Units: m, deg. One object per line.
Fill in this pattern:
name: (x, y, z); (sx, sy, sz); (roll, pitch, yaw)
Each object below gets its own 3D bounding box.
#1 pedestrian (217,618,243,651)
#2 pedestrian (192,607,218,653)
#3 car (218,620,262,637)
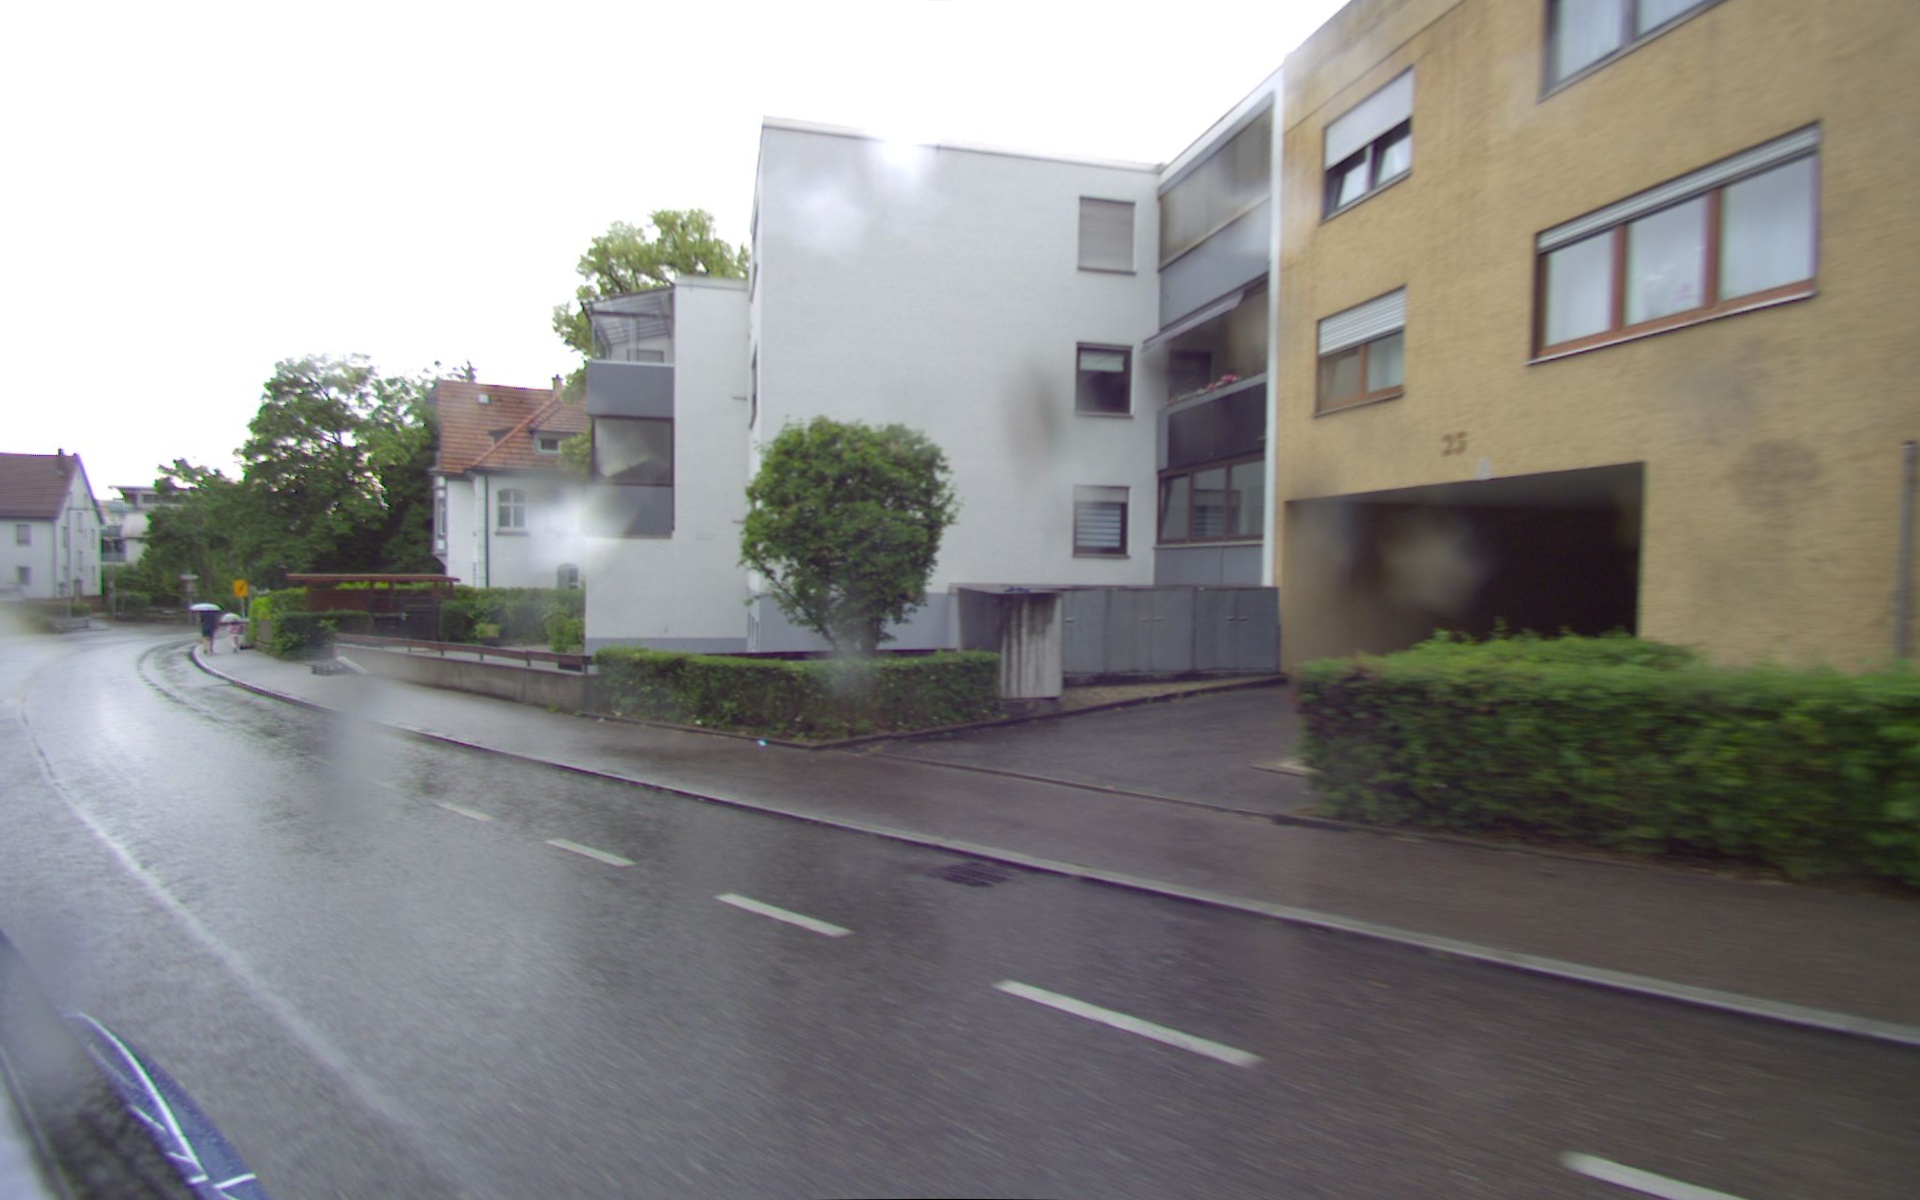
pedestrian: (-26.928, 1.251, 37.335); (0.746, 1.189, 1.042); (0, 0, -38)
pedestrian: (-28.031, 1.111, 37.590); (0.746, 1.656, 1.042); (0, 0, -38)
car: (-50.504, 1.978, 71.035); (1.655, 1.155, 4.013); (0, -1, -23)
